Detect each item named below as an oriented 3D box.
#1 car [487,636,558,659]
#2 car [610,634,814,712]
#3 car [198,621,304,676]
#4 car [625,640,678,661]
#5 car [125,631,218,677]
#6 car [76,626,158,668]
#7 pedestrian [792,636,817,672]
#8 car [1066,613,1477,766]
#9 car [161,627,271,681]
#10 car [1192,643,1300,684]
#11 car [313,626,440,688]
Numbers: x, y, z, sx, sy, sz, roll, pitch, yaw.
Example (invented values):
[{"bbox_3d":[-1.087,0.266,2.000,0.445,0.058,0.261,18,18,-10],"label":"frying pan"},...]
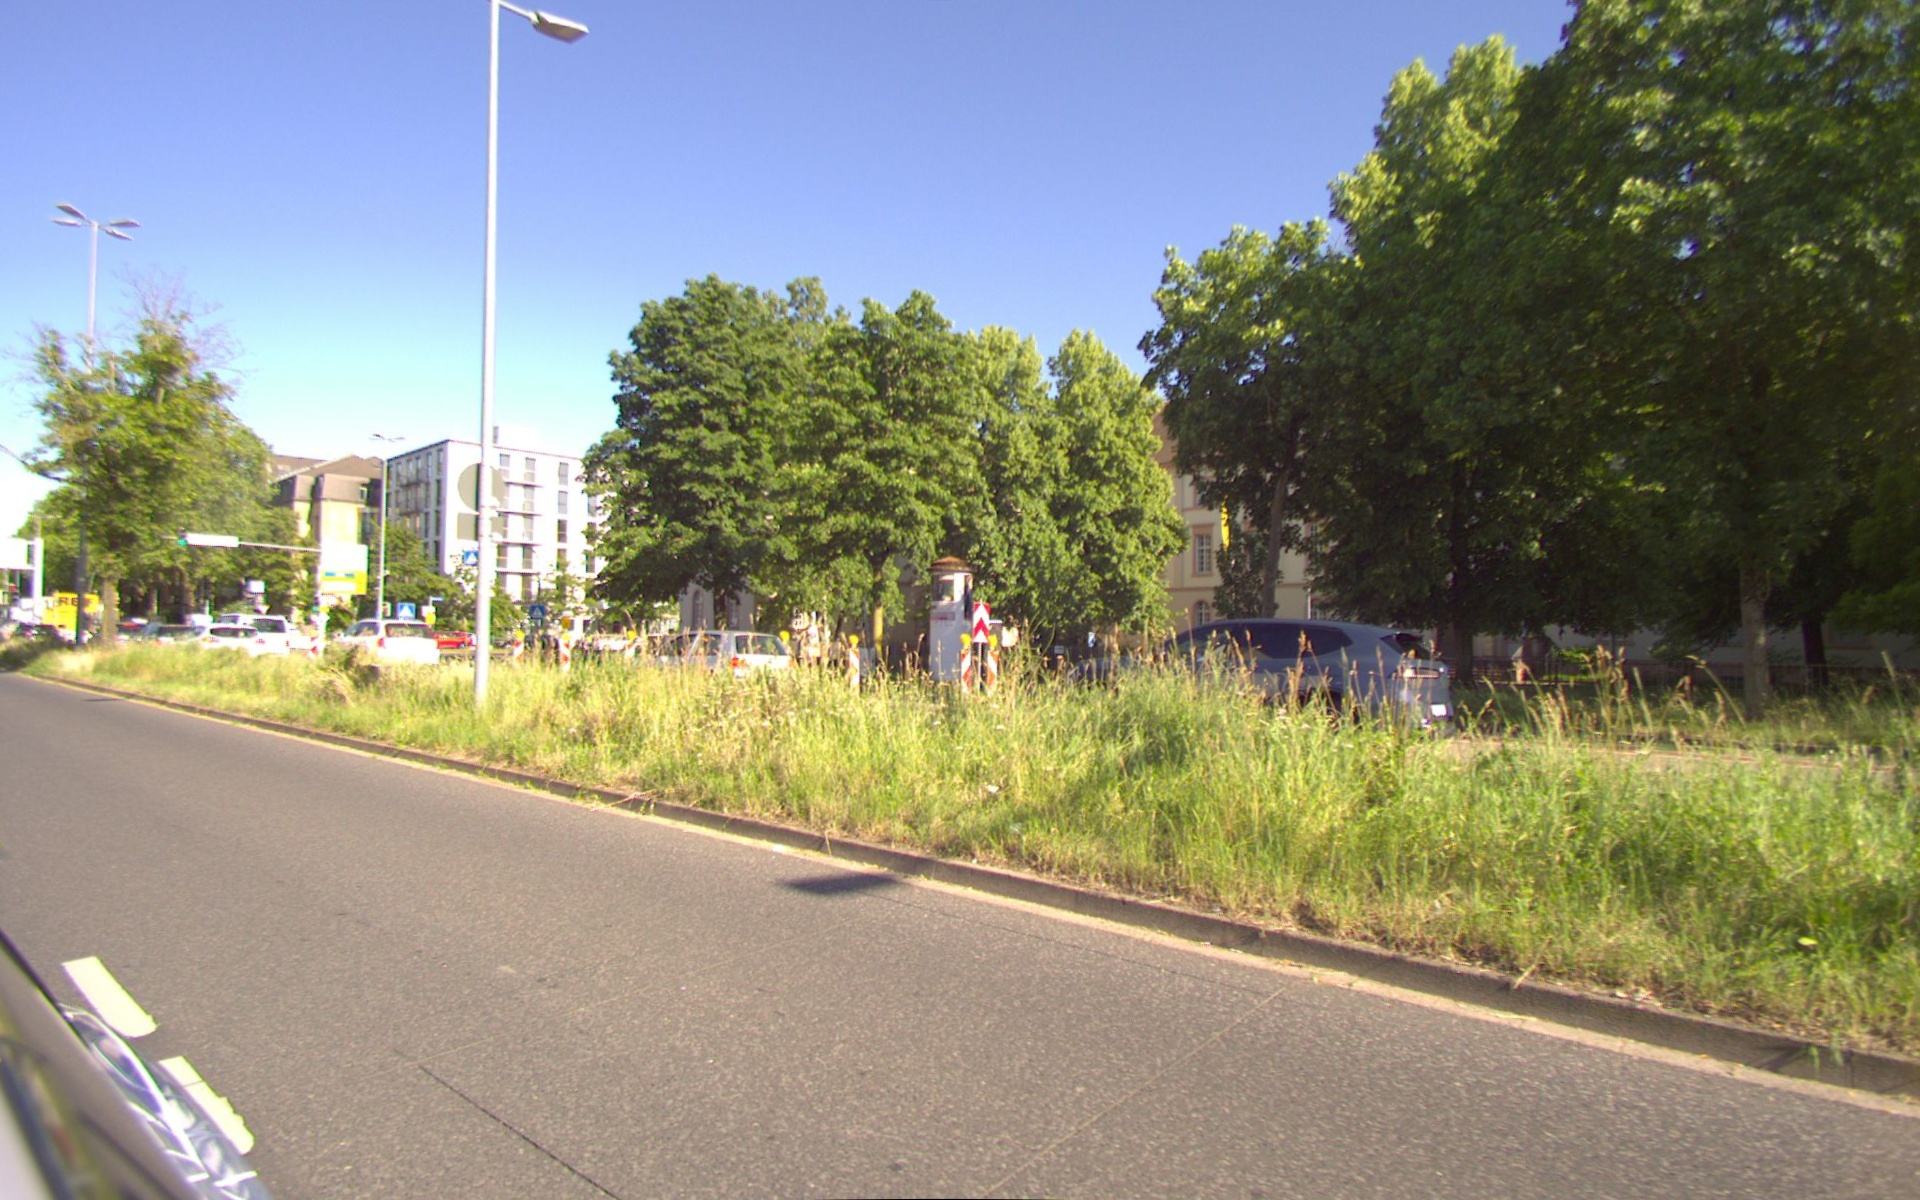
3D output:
[{"bbox_3d":[-33.799,3.662,78.262,4.637,1.630,1.922,1,1,-40],"label":"car"},{"bbox_3d":[-4.986,1.377,20.081,4.255,1.362,1.777,-1,-3,40],"label":"car"},{"bbox_3d":[-28.061,1.858,39.980,5.014,2.043,2.210,-1,-2,41],"label":"car"},{"bbox_3d":[-25.908,4.218,85.146,3.940,1.630,1.563,1,1,-44],"label":"car"},{"bbox_3d":[-28.183,1.900,36.136,4.360,1.530,1.777,-2,-2,40],"label":"car"},{"bbox_3d":[-33.502,1.836,40.190,4.344,1.530,1.777,-1,-1,41],"label":"car"},{"bbox_3d":[-6.833,2.377,44.396,0.780,1.547,0.733,-2,-3,36],"label":"pedestrian"},{"bbox_3d":[3.630,0.959,12.303,4.441,1.530,1.777,-1,-3,40],"label":"car"},{"bbox_3d":[-22.909,1.622,31.119,4.202,1.530,1.777,-1,-3,40],"label":"car"},{"bbox_3d":[13.458,2.943,47.802,4.684,1.503,1.625,3,1,41],"label":"car"},{"bbox_3d":[-17.967,1.679,31.062,5.028,1.756,1.777,-1,-3,40],"label":"car"}]
